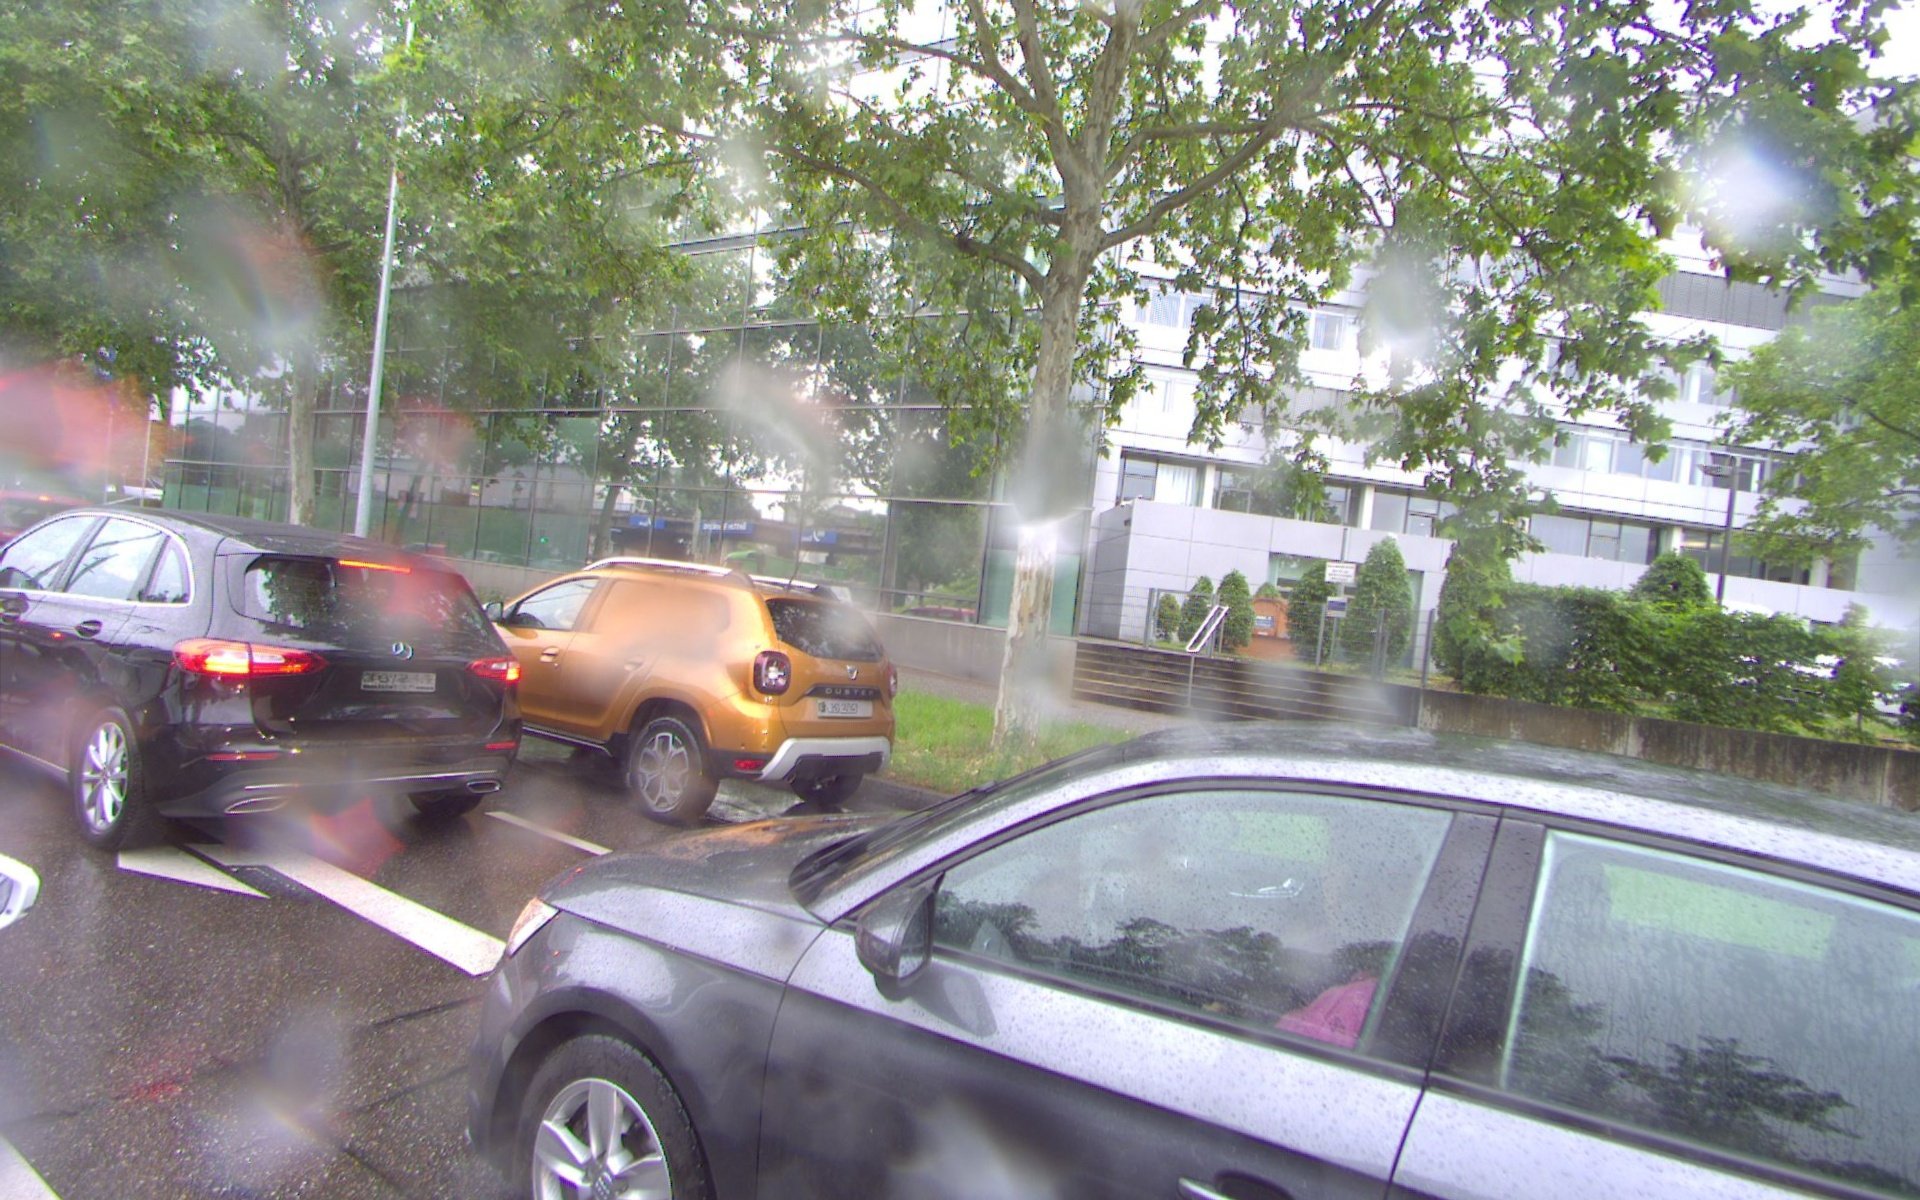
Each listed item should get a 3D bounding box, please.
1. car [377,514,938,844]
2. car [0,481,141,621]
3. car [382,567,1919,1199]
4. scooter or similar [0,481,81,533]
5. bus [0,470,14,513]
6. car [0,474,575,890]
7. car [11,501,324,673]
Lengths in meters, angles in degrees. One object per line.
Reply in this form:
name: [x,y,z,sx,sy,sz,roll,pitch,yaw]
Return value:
car: [-2.425,0.470,7.751,4.079,1.704,1.679,8,-2,32]
car: [-14.068,-0.811,14.793,4.201,1.714,1.714,6,-2,32]
car: [0.759,0.902,2.053,3.718,1.445,1.679,7,-1,31]
scooter or similar: [-54.525,-5.521,58.142,5.228,2.476,1.893,7,0,-9]
bus: [-84.605,-9.664,81.135,2.438,3.465,12.004,7,0,23]
car: [-4.339,0.241,5.756,4.022,1.573,1.751,7,-1,31]
car: [-8.981,-0.160,11.368,3.332,1.480,1.572,7,-1,31]
